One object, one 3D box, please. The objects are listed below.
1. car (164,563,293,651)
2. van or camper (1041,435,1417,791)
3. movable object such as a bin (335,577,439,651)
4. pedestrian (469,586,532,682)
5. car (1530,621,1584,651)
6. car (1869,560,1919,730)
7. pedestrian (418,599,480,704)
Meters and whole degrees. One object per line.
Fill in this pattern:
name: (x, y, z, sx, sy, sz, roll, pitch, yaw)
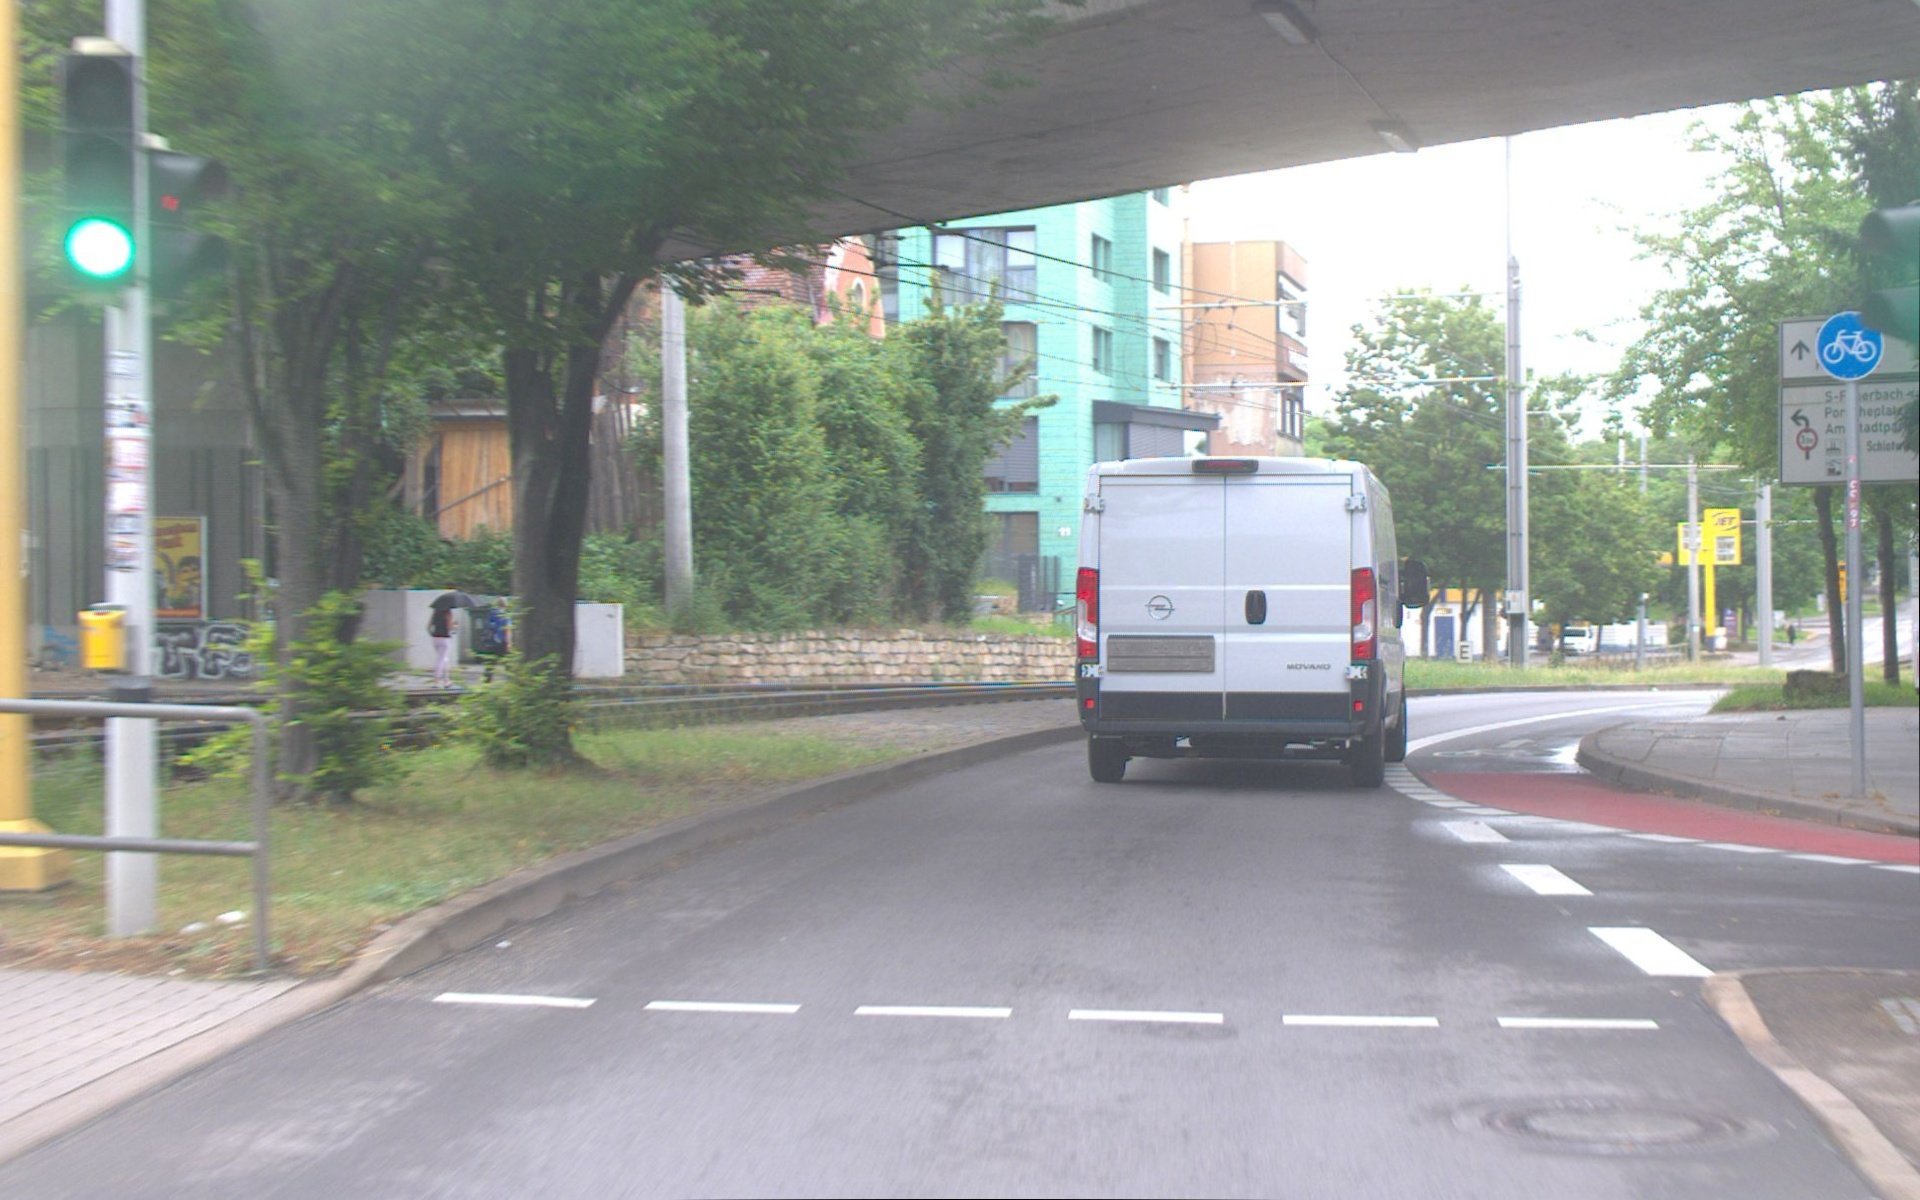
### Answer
car: (-15.466, 0.142, 72.611, 1.714, 1.662, 3.199, 2, 1, -29)
van or camper: (2.058, 0.105, 24.802, 2.200, 2.245, 4.682, 2, 0, 10)
movable object such as a bin: (-12.115, 0.295, 72.642, 1.556, 1.474, 1.802, 1, 1, -32)
pedestrian: (-8.071, 0.595, 60.406, 0.694, 1.664, 0.887, 1, 0, 25)
car: (30.328, 1.838, 174.543, 1.996, 1.437, 3.996, 2, 0, 20)
car: (10.252, 0.418, 31.584, 3.725, 1.517, 1.802, 1, 0, -39)
pedestrian: (-9.028, 0.903, 60.750, 0.694, 1.824, 0.865, 1, 0, 23)
